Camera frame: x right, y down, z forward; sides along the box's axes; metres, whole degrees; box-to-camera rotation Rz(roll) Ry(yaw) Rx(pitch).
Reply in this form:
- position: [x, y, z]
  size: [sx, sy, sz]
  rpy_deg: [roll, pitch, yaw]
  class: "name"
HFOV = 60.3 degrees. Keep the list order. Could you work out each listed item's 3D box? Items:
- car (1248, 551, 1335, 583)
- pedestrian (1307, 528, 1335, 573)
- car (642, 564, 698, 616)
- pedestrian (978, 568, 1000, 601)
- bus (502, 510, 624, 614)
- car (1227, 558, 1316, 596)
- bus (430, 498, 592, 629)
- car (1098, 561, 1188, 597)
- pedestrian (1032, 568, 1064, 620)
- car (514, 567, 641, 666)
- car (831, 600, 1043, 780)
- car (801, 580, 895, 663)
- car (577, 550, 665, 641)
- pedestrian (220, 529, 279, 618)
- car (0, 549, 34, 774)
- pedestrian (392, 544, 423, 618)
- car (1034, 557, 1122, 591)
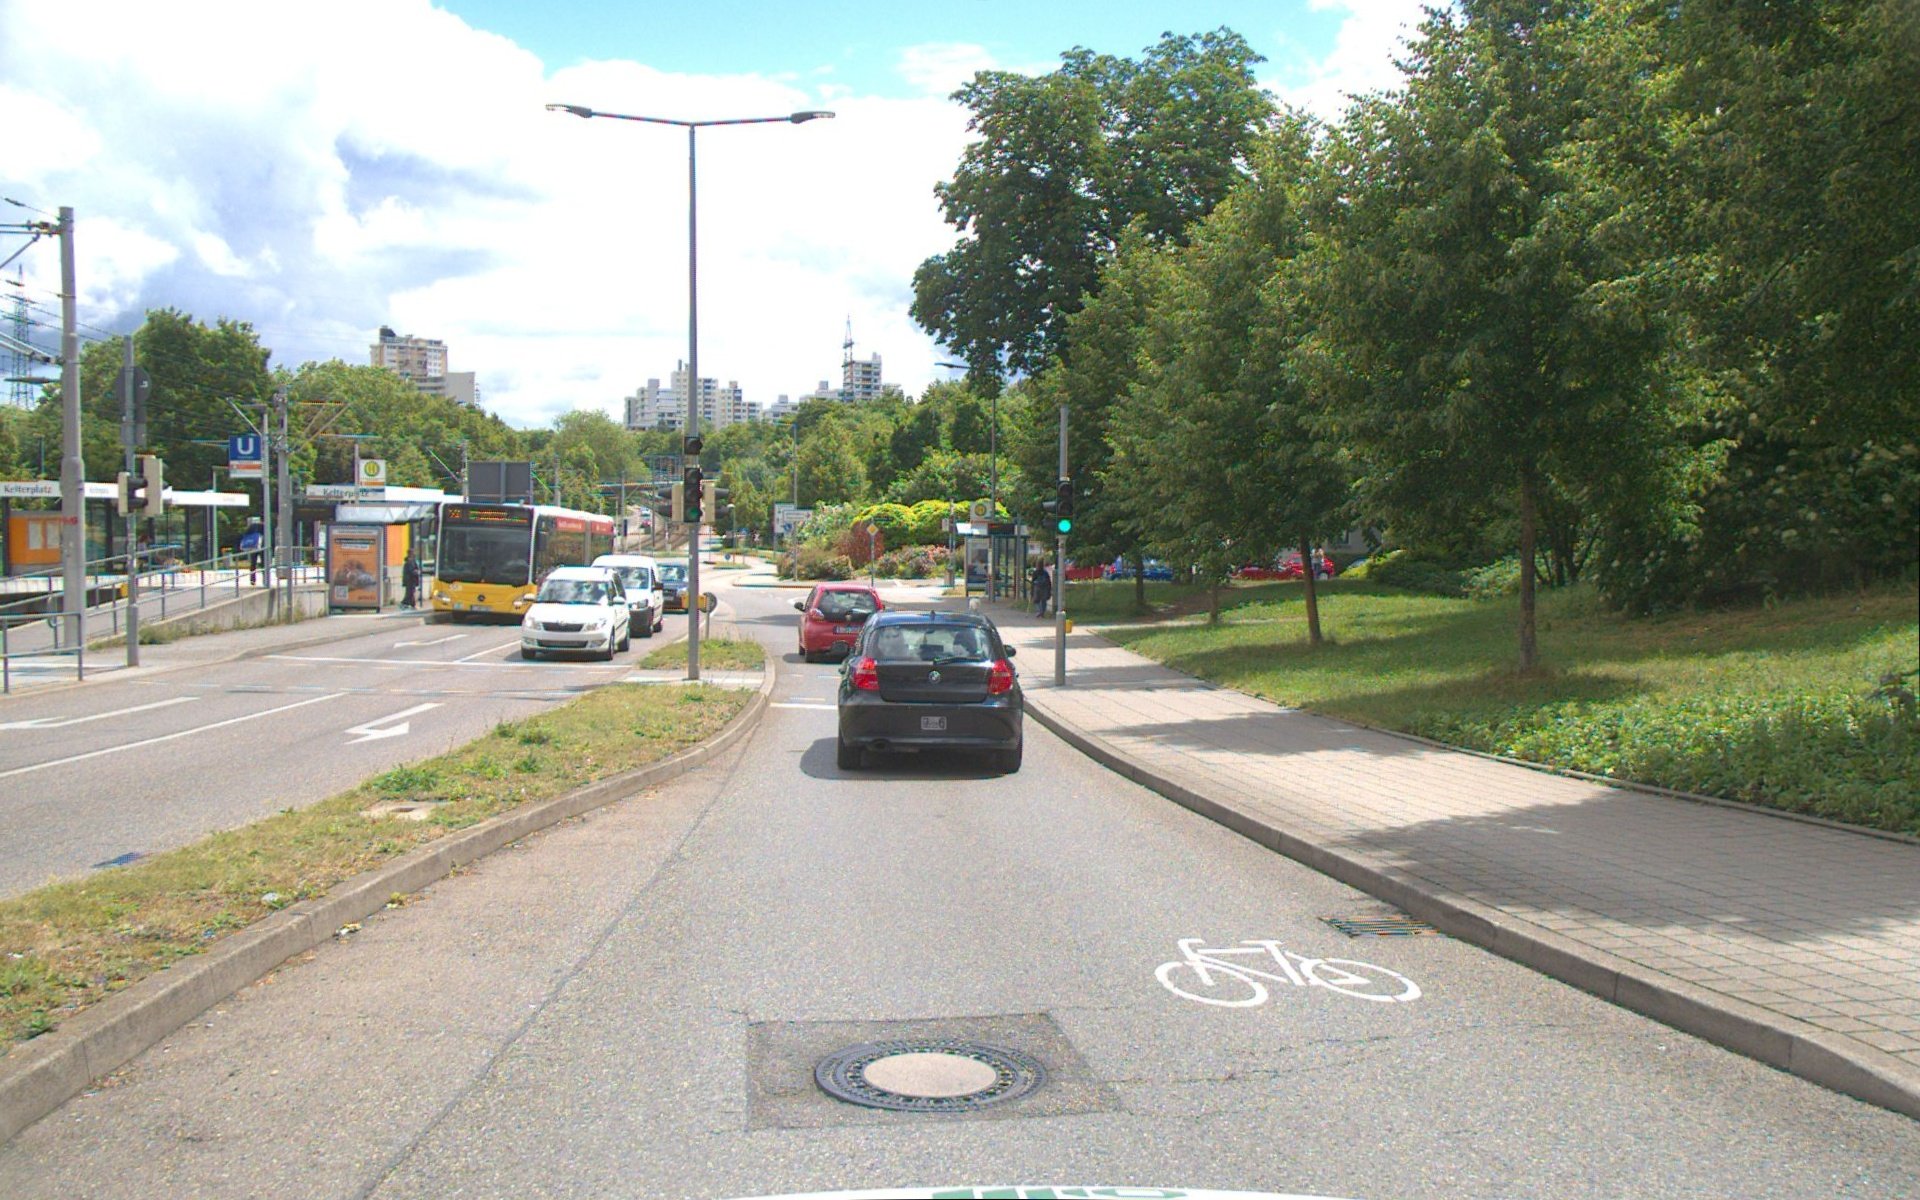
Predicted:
- position: [17.178, -1.724, 85.874]
  size: [4.004, 1.528, 1.997]
  rpy_deg: [-1, 3, -8]
  class: "car"
- position: [14.491, -1.991, 66.420]
  size: [0.965, 1.791, 0.859]
  rpy_deg: [0, 1, 4]
  class: "pedestrian"
- position: [-9.270, -0.351, 53.015]
  size: [1.500, 1.578, 3.727]
  rpy_deg: [2, 1, -7]
  class: "car"
- position: [1.105, -0.597, 63.336]
  size: [0.811, 1.280, 0.686]
  rpy_deg: [0, 2, -4]
  class: "pedestrian"
- position: [-12.962, -1.329, 54.661]
  size: [2.673, 3.123, 8.955]
  rpy_deg: [0, 2, -6]
  class: "bus"
- position: [14.342, -1.078, 76.245]
  size: [3.618, 1.672, 1.827]
  rpy_deg: [0, 3, -9]
  class: "car"
- position: [-12.077, -1.051, 45.357]
  size: [2.673, 3.163, 9.694]
  rpy_deg: [0, 2, -6]
  class: "bus"
- position: [8.326, -0.960, 75.257]
  size: [3.723, 1.481, 1.893]
  rpy_deg: [-2, 3, -9]
  class: "car"
- position: [2.509, -0.177, 47.324]
  size: [0.804, 1.449, 0.829]
  rpy_deg: [0, 1, -6]
  class: "pedestrian"
- position: [-7.131, 0.251, 31.169]
  size: [1.665, 1.677, 4.076]
  rpy_deg: [1, 2, -4]
  class: "car"
- position: [-0.350, 0.768, 16.199]
  size: [1.780, 1.445, 3.996]
  rpy_deg: [-1, 1, -5]
  class: "car"
- position: [-2.222, 0.372, 32.361]
  size: [1.731, 1.457, 3.475]
  rpy_deg: [-1, 2, -5]
  class: "car"
- position: [-7.966, -0.171, 39.205]
  size: [1.729, 1.690, 4.501]
  rpy_deg: [-1, 6, -8]
  class: "car"
- position: [-16.659, -0.619, 38.812]
  size: [0.951, 2.049, 1.028]
  rpy_deg: [0, 1, -3]
  class: "pedestrian"
- position: [-8.850, 0.506, 11.538]
  size: [1.953, 1.854, 5.071]
  rpy_deg: [1, 0, -1]
  class: "car"
- position: [-15.442, -0.531, 46.228]
  size: [0.689, 2.048, 0.826]
  rpy_deg: [-1, 1, -10]
  class: "pedestrian"
- position: [5.996, -1.340, 83.986]
  size: [4.082, 1.588, 1.995]
  rpy_deg: [0, 4, -12]
  class: "car"
